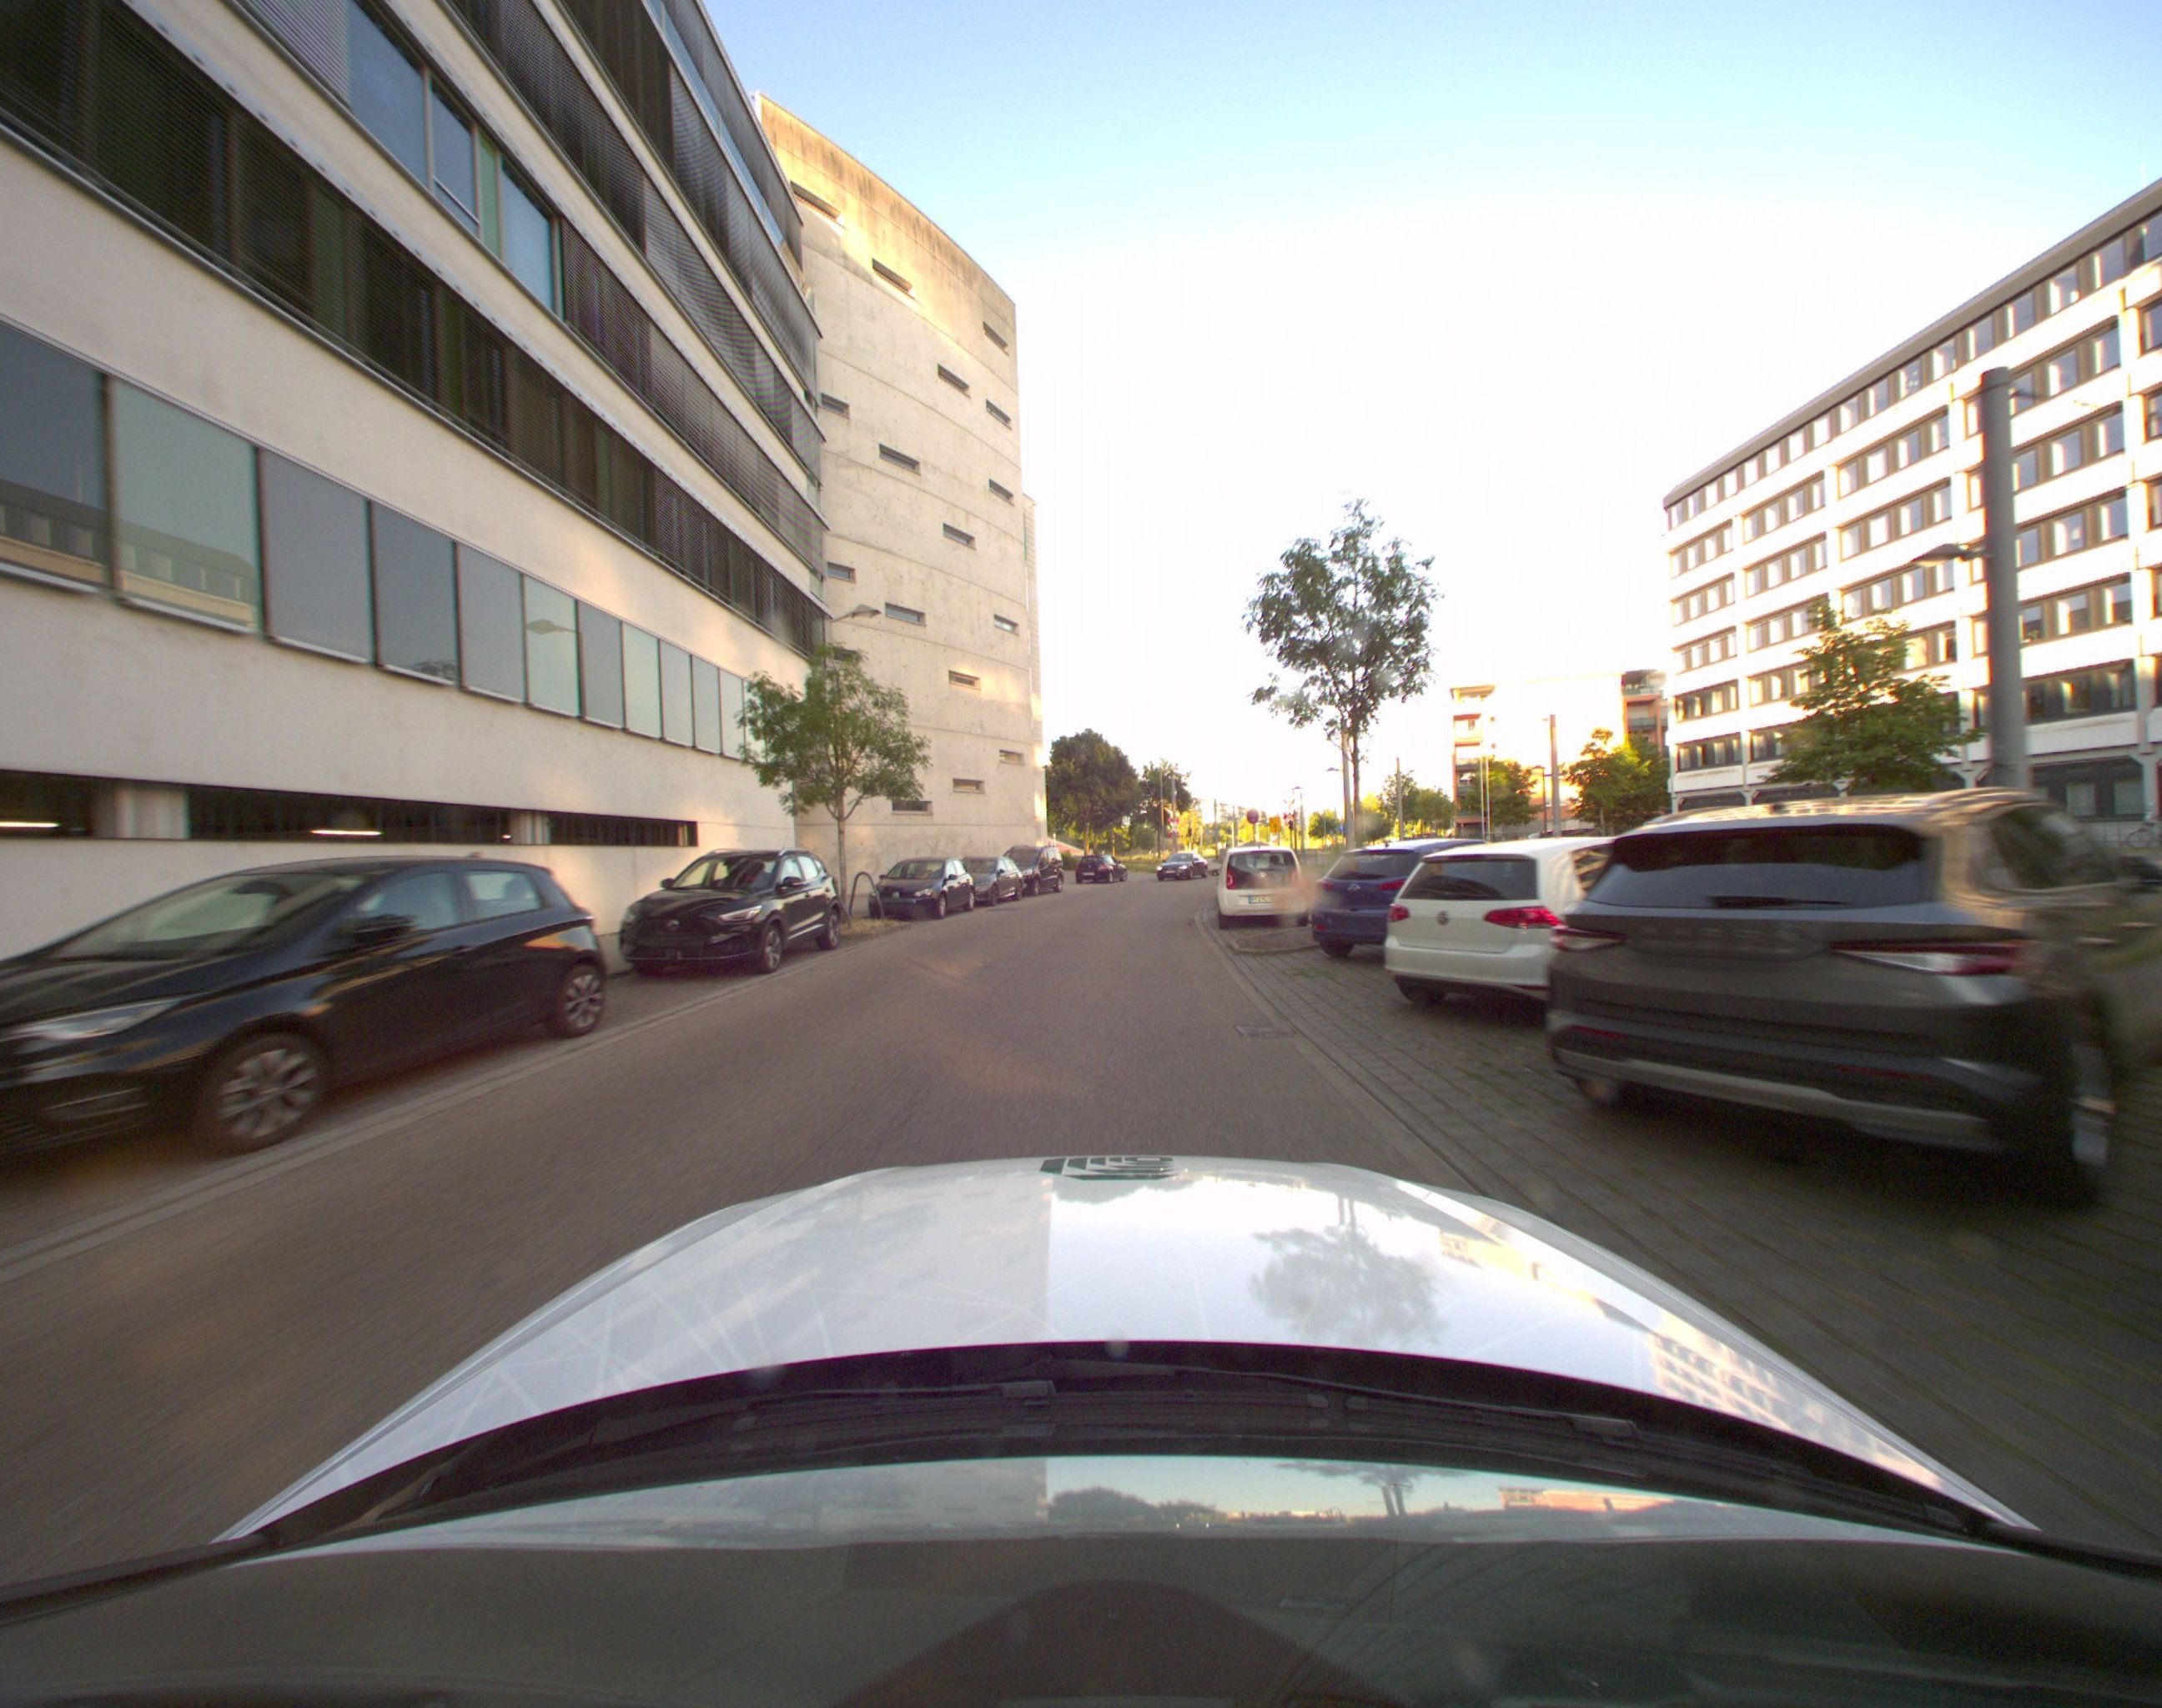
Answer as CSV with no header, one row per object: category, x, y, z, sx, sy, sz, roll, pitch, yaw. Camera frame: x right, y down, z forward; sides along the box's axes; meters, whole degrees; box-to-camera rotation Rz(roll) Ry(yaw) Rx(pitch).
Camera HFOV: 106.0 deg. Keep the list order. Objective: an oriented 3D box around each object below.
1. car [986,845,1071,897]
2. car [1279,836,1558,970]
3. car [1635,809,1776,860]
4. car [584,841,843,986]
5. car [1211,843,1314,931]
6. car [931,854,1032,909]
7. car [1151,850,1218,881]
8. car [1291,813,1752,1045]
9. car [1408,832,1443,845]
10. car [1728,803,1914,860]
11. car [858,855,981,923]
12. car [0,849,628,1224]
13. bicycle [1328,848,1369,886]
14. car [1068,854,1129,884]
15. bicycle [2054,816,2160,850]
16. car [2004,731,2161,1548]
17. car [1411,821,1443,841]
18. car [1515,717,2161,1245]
car,-1.902,0.575,30.808,1.743,1.798,4.483,0,1,17
car,4.648,0.534,11.078,3.768,1.509,1.670,-1,1,-33
car,26.518,-0.803,34.692,4.478,1.936,1.933,-2,0,2
car,-4.799,0.651,11.326,1.750,1.653,3.949,0,1,1
car,3.463,0.560,16.041,1.712,1.467,3.562,-3,1,9
car,-2.993,0.787,25.622,1.711,1.457,4.709,0,1,12
car,5.509,0.572,42.822,1.761,1.422,4.544,-1,0,32
car,4.165,0.505,7.641,3.944,1.509,1.938,-4,1,-29
car,45.418,-2.076,107.446,4.115,1.576,1.713,-2,0,26
car,23.904,-0.708,26.414,4.480,1.602,1.694,-2,0,1
car,-3.889,0.784,20.385,1.713,1.457,4.281,0,1,8
car,-5.128,0.774,5.513,1.749,1.561,4.045,0,1,2
bicycle,8.047,0.378,24.582,0.760,1.082,1.692,-2,0,5
car,0.958,0.706,41.149,1.929,1.382,4.419,0,1,18
bicycle,37.457,-0.758,29.793,0.825,1.200,2.433,1,1,2
car,4.269,0.432,1.795,3.996,1.639,1.956,-4,0,-27
car,50.020,-3.317,117.783,4.116,2.584,1.713,-2,0,23
car,4.280,0.377,4.409,3.792,1.725,1.746,-1,1,-32
